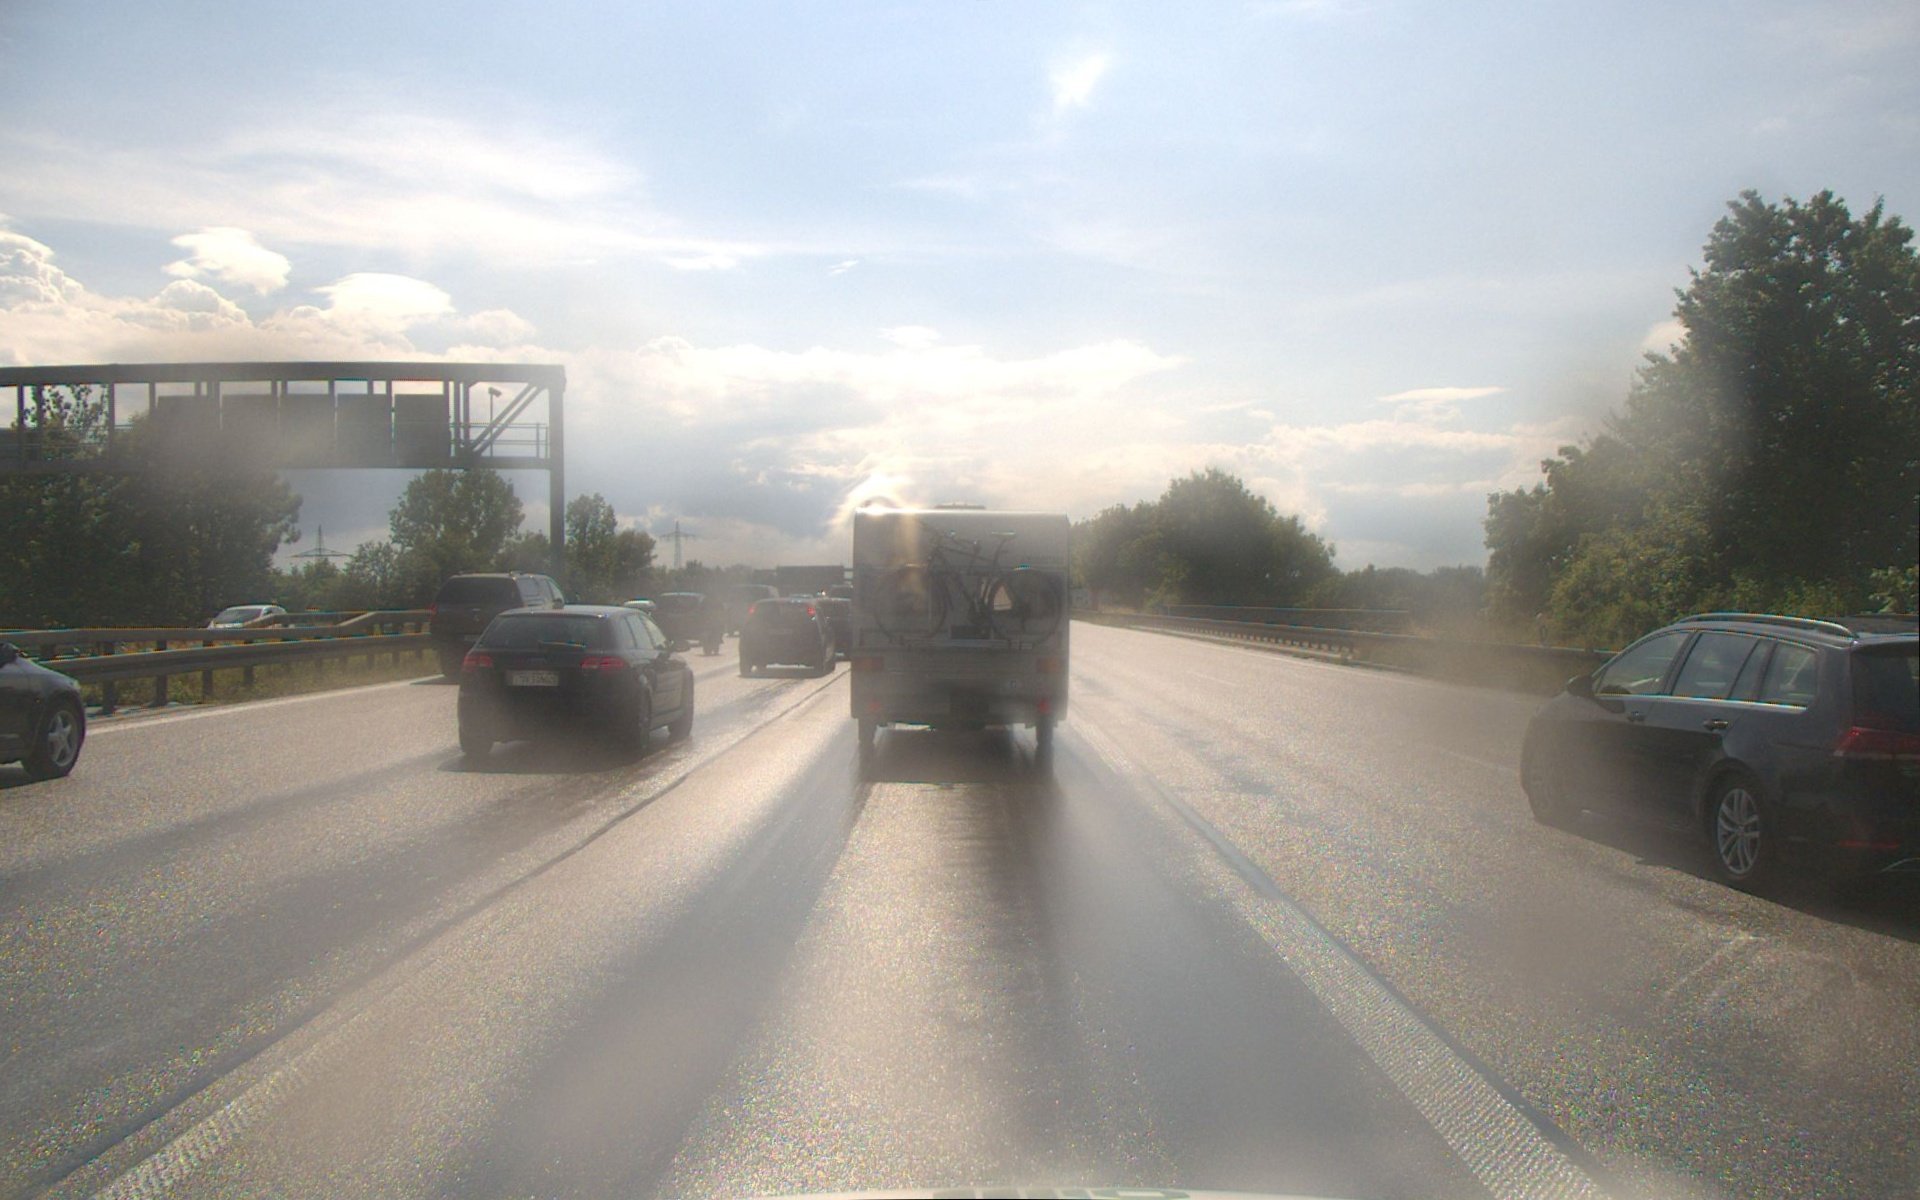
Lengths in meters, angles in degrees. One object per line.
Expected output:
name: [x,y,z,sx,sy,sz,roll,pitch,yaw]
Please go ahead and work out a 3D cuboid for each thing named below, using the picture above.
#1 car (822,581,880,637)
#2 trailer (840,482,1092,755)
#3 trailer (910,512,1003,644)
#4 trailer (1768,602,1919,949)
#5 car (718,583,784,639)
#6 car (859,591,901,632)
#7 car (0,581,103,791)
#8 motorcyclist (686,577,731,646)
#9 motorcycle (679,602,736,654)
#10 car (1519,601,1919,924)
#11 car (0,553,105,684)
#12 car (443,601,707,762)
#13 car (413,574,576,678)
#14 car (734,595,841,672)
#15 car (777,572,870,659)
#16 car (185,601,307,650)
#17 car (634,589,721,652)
car: [-4.187,0.355,63.962,1.953,2.049,4.000,1,0,0]
trailer: [0.011,0.186,18.780,2.326,2.527,6.521,1,0,-1]
trailer: [-0.008,-0.708,57.648,2.945,4.239,8.537,1,0,1]
trailer: [4.997,0.750,6.257,1.817,1.467,4.147,0,0,-1]
car: [-8.227,0.422,65.408,1.953,2.048,4.000,4,0,0]
car: [-4.073,0.581,85.181,1.953,2.049,4.000,0,0,0]
car: [-7.893,0.630,11.441,1.721,1.543,4.208,0,0,0]
motorcyclist: [-6.531,0.298,43.004,1.042,1.748,0.785,1,-1,0]
motorcycle: [-6.533,0.710,42.963,1.052,1.293,2.690,0,0,0]
car: [4.935,0.747,9.721,1.817,1.467,4.257,0,0,-1]
car: [-16.046,0.283,27.158,1.953,2.049,3.999,0,0,-1]
car: [-3.717,0.723,16.645,1.721,1.411,3.945,0,0,0]
car: [-8.426,0.460,30.311,1.953,1.750,3.998,1,0,-2]
car: [-3.432,0.650,33.526,1.769,1.432,3.999,1,0,-1]
car: [-3.371,0.380,41.505,1.953,2.049,4.000,1,0,0]
car: [-23.437,0.814,54.516,2.075,1.513,5.034,0,0,-3]
car: [-8.732,0.616,51.456,1.953,1.803,4.000,2,0,0]
